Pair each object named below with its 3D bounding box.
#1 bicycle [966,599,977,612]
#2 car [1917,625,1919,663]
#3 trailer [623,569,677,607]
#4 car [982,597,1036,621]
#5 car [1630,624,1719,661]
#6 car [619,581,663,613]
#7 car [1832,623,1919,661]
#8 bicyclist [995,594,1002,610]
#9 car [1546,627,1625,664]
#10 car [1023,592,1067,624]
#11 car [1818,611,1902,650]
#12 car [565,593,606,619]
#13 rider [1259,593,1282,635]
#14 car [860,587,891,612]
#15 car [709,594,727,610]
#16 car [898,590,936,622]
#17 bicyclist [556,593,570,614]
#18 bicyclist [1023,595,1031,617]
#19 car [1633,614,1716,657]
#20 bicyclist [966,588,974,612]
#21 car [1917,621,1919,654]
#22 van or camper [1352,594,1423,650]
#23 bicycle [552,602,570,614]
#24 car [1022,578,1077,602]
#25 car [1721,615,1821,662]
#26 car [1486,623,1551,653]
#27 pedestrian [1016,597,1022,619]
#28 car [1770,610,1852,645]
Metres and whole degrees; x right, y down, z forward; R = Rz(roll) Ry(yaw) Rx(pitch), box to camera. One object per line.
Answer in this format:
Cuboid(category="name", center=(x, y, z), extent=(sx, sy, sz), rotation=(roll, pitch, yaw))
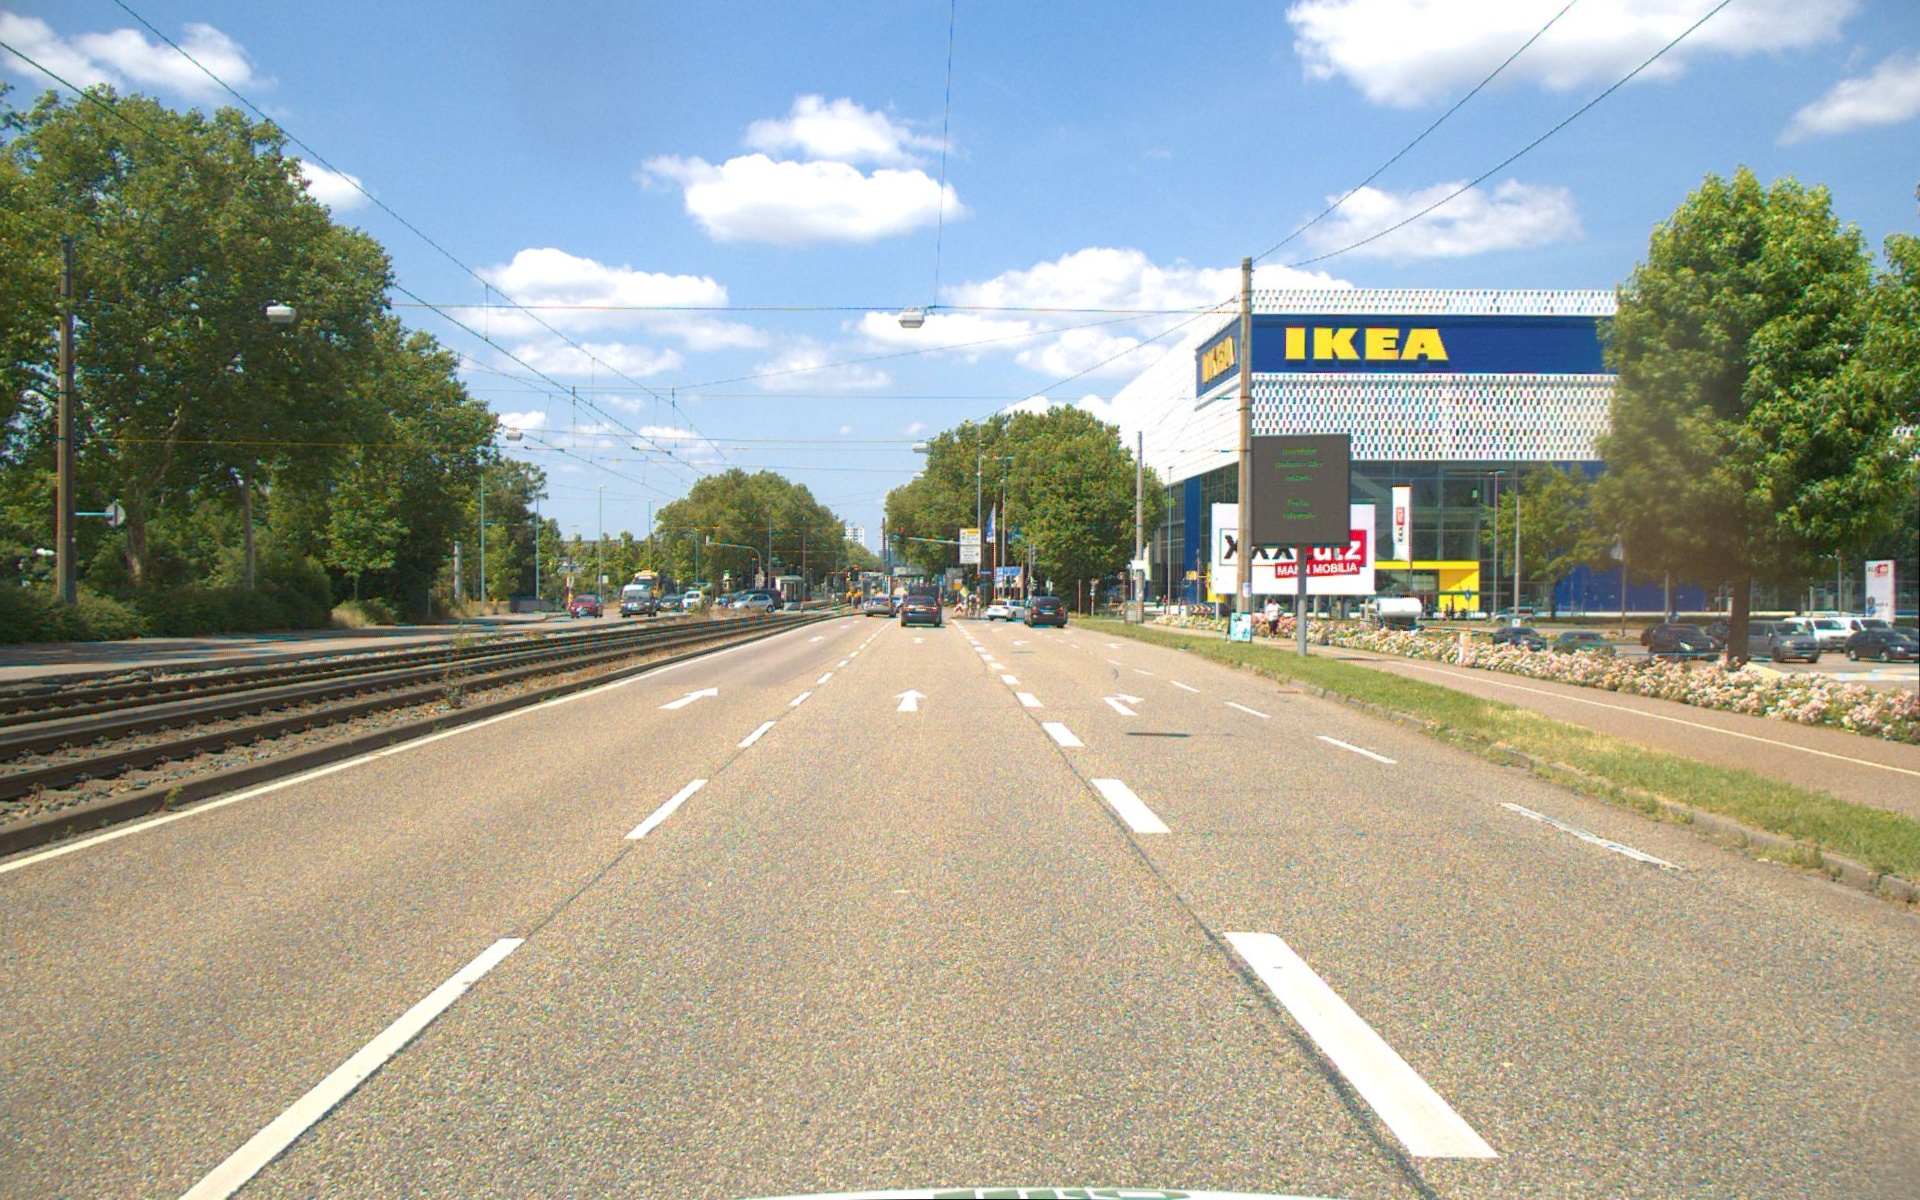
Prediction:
Cuboid(category="bicycle", center=(0.848, 0.406, 123.341), extent=(0.674, 1.011, 2.751), rotation=(1, 0, -1))
Cuboid(category="car", center=(42.444, 1.931, 69.043), extent=(1.953, 1.639, 4.999), rotation=(1, 0, -1))
Cuboid(category="trailer", center=(-30.728, -1.155, 164.612), extent=(2.711, 3.580, 15.872), rotation=(1, 0, -2))
Cuboid(category="car", center=(3.376, 0.658, 113.267), extent=(1.956, 1.512, 4.383), rotation=(2, 0, 28))
Cuboid(category="car", center=(34.037, 2.003, 78.946), extent=(1.953, 1.577, 4.999), rotation=(1, 0, -1))
Cuboid(category="car", center=(-19.578, -0.184, 101.698), extent=(1.954, 1.862, 4.966), rotation=(-2, 0, -3))
Cuboid(category="car", center=(43.798, 1.960, 78.655), extent=(1.953, 1.639, 4.999), rotation=(1, 0, -1))
Cuboid(category="bicyclist", center=(2.917, 0.152, 125.325), extent=(0.461, 1.214, 0.791), rotation=(1, 0, 1))
Cuboid(category="car", center=(29.555, 2.121, 78.280), extent=(1.953, 1.523, 4.302), rotation=(-2, 0, -1))
Cuboid(category="car", center=(4.380, 0.396, 85.675), extent=(1.953, 1.512, 3.999), rotation=(2, 0, -1))
Cuboid(category="car", center=(51.142, 1.701, 94.132), extent=(1.953, 2.042, 4.999), rotation=(1, 0, -1))
Cuboid(category="car", center=(-25.363, 0.405, 112.205), extent=(1.954, 1.699, 4.465), rotation=(-1, 0, -3))
Cuboid(category="rider", center=(11.155, 0.498, 59.481), extent=(0.655, 1.483, 0.618), rotation=(1, 0, -2))
Cuboid(category="car", center=(-5.643, -0.040, 110.730), extent=(1.953, 1.512, 3.999), rotation=(2, 0, -1))
Cuboid(category="car", center=(-30.931, 0.253, 211.697), extent=(1.781, 1.916, 3.999), rotation=(1, 0, -2))
Cuboid(category="car", center=(-2.006, 0.266, 77.654), extent=(1.756, 1.480, 3.999), rotation=(0, 0, -1))
Cuboid(category="bicyclist", center=(-34.957, 0.341, 145.569), extent=(1.097, 1.805, 0.340), rotation=(1, 0, -6))
Cuboid(category="bicyclist", center=(5.492, 0.478, 135.331), extent=(0.517, 1.795, 0.828), rotation=(1, -1, 12))
Cuboid(category="car", center=(36.429, 1.802, 84.451), extent=(1.953, 2.049, 4.999), rotation=(-1, 0, -1))
Cuboid(category="bicyclist", center=(0.763, 0.014, 123.962), extent=(0.518, 1.820, 1.088), rotation=(1, 0, -1))
Cuboid(category="car", center=(48.507, 1.888, 79.592), extent=(1.953, 1.639, 4.999), rotation=(1, 0, -1))
Cuboid(category="van or camper", center=(24.821, 1.232, 96.243), extent=(2.455, 3.073, 7.225), rotation=(1, 0, 2))
Cuboid(category="bicycle", center=(-35.132, 0.732, 145.499), extent=(1.462, 1.004, 0.485), rotation=(1, 0, -6))
Cuboid(category="car", center=(7.788, -0.891, 144.542), extent=(4.334, 1.951, 1.987), rotation=(2, 0, -22))
Cuboid(category="car", center=(38.747, 1.800, 79.181), extent=(1.953, 2.049, 5.533), rotation=(1, 0, -1))
Cuboid(category="car", center=(31.618, 2.134, 93.778), extent=(1.953, 1.564, 4.768), rotation=(0, 0, -1))
Cuboid(category="pedestrian", center=(4.466, 0.579, 125.526), extent=(0.373, 1.663, 0.377), rotation=(1, 0, 1))
Cuboid(category="car", center=(48.388, 1.545, 94.165), extent=(1.953, 1.885, 4.999), rotation=(1, 0, -1))
